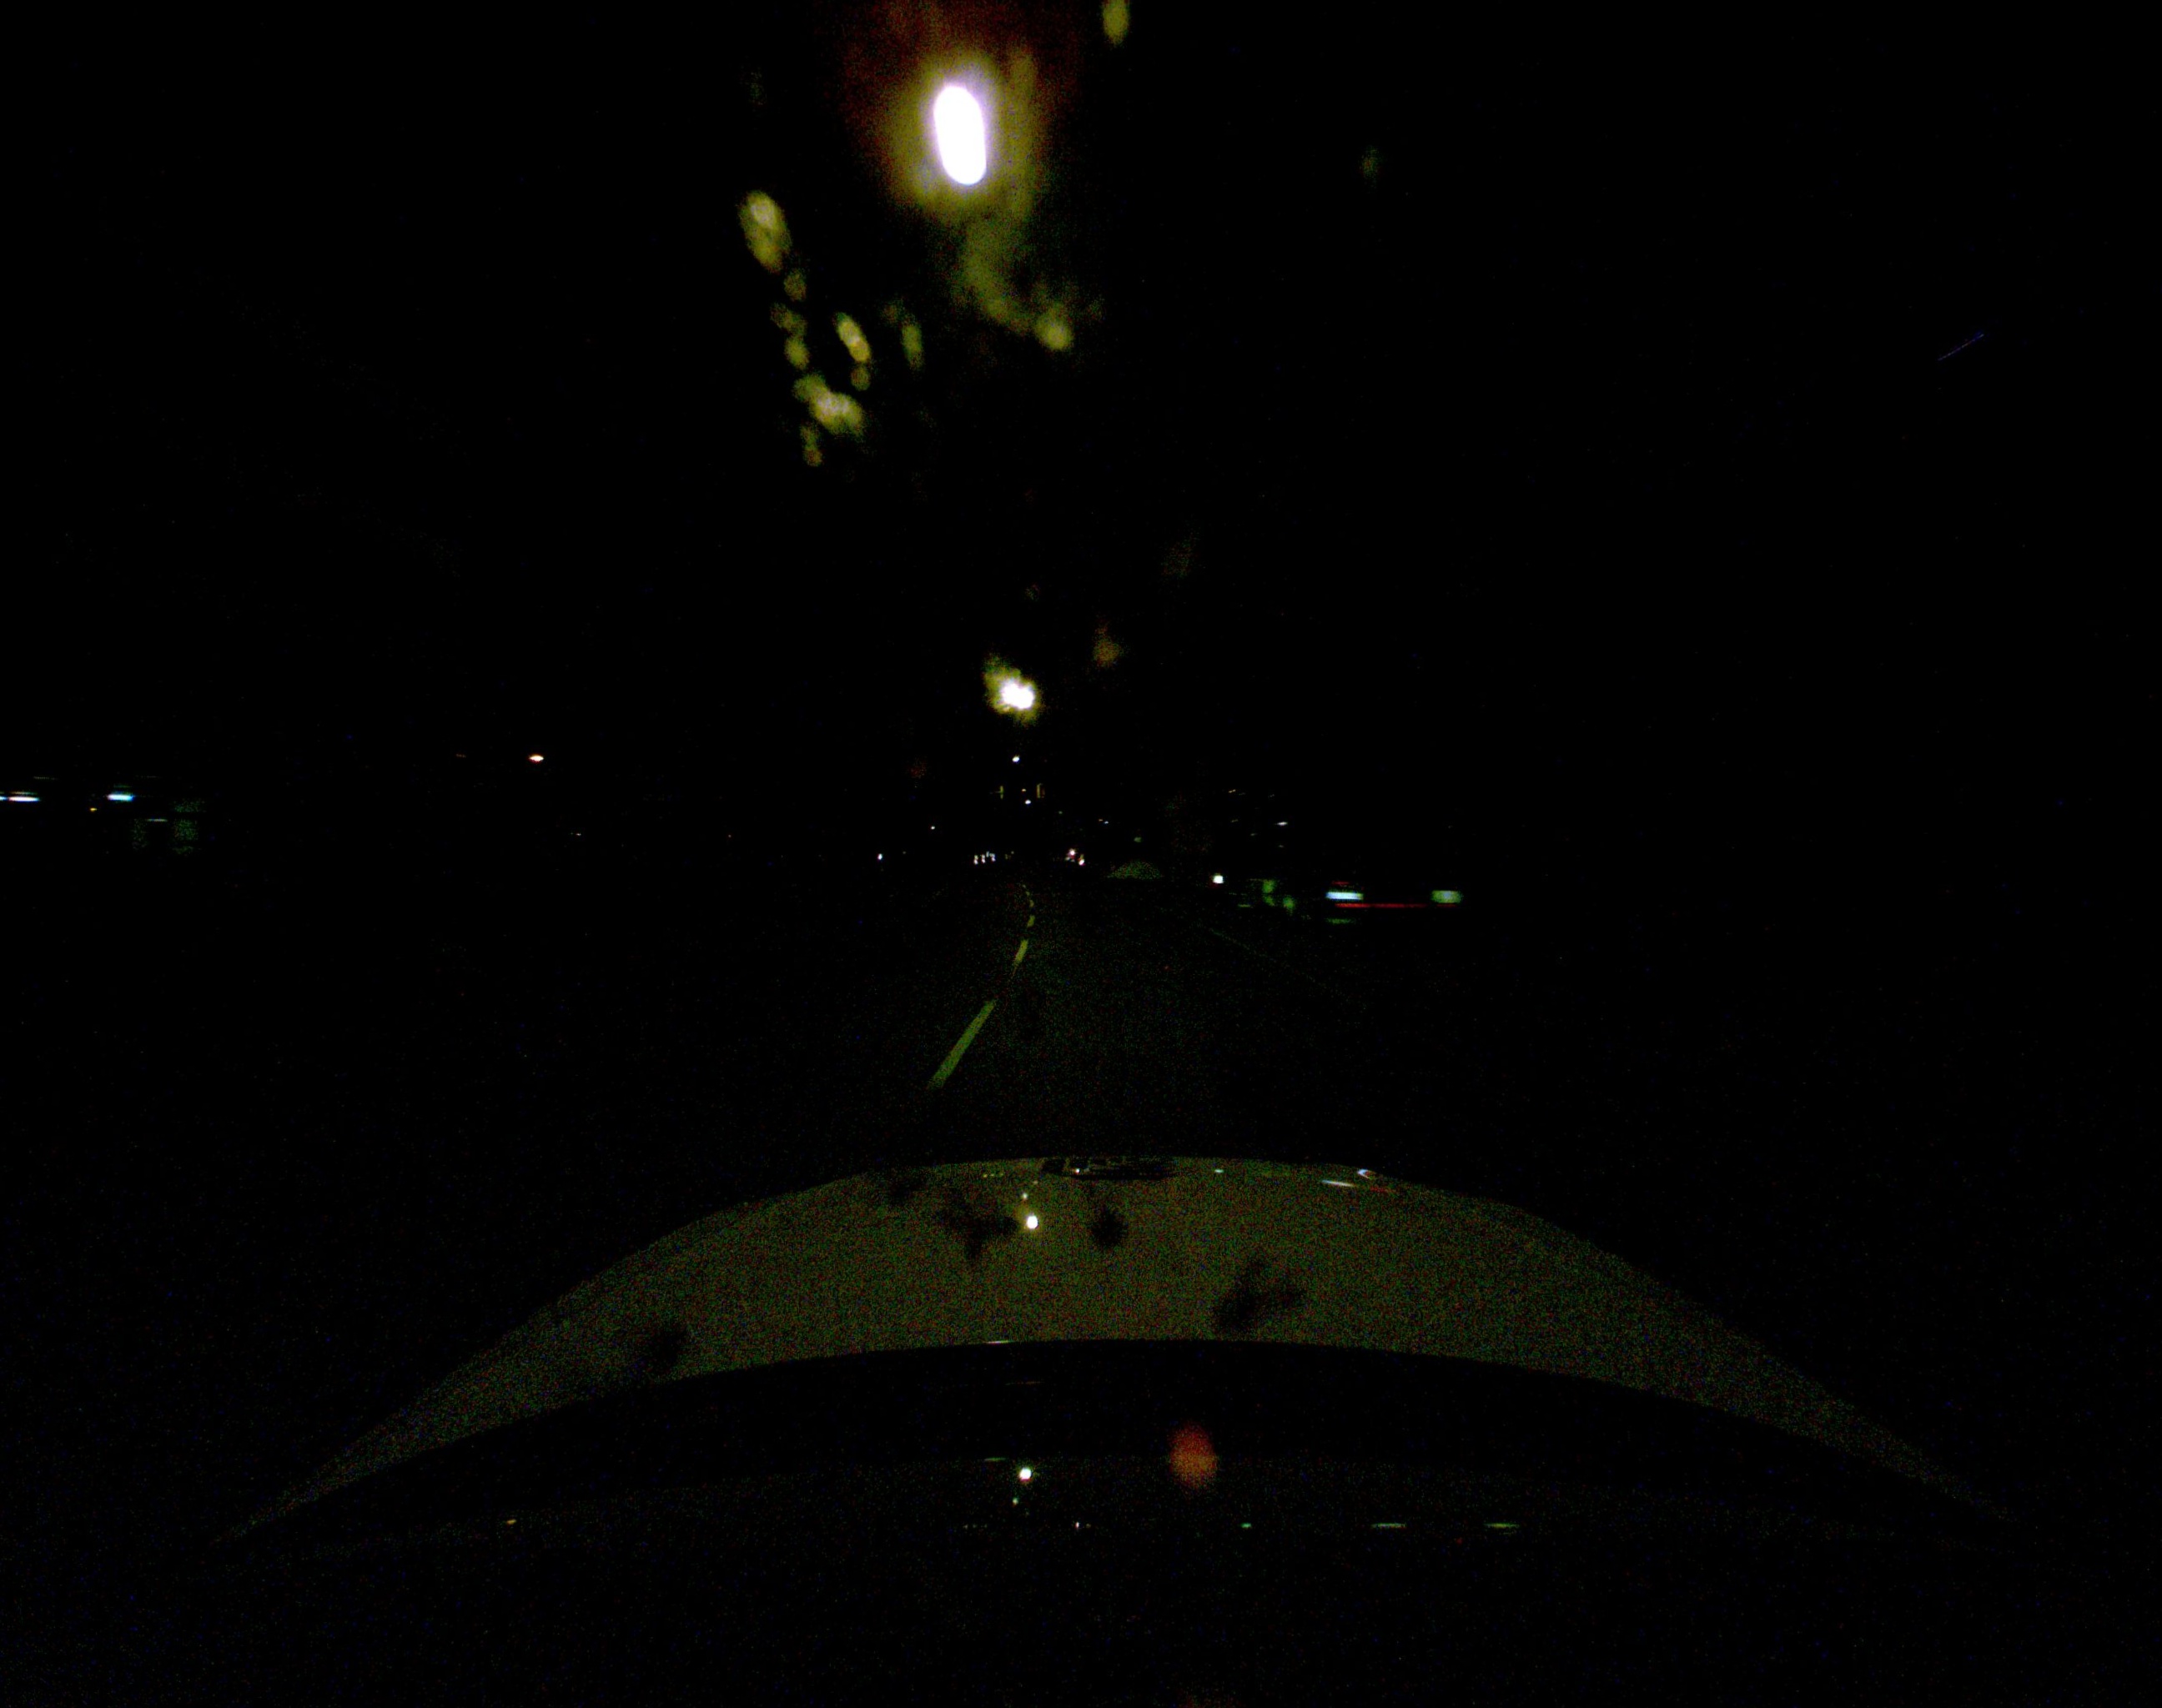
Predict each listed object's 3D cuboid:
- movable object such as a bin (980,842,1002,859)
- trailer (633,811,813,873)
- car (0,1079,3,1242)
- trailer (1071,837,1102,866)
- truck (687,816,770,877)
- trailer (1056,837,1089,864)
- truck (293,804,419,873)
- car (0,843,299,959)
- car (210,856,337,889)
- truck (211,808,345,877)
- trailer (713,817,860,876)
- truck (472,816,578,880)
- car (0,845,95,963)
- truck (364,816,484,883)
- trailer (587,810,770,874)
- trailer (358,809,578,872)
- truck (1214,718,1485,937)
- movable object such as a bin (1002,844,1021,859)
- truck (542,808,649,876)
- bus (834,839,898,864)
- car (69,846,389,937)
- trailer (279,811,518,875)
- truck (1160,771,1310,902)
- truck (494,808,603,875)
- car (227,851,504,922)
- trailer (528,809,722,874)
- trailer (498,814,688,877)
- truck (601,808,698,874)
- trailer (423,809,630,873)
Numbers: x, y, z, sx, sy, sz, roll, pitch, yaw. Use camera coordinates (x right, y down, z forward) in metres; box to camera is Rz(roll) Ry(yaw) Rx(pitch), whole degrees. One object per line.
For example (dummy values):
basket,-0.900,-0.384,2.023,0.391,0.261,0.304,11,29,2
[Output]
movable object such as a bin,-13.267,-0.490,120.844,1.982,2.376,4.714,-2,1,9
trailer,-26.389,-0.830,61.718,3.033,4.148,15.075,0,0,19
car,-5.636,1.036,1.369,1.808,1.371,4.360,-1,0,0
trailer,0.552,-0.231,84.109,2.611,2.845,4.698,0,-1,-7
truck,-23.544,-0.499,54.608,3.038,3.932,4.518,0,0,12
trailer,-1.069,-0.385,98.839,3.478,3.219,4.853,0,-1,-7
truck,-48.858,-1.018,55.081,3.036,4.357,5.588,0,0,14
car,-15.666,0.705,12.983,4.391,1.681,1.961,-1,0,-1
car,-38.645,0.873,39.068,3.981,1.552,1.887,0,0,-6
truck,-53.618,-0.725,54.555,3.036,4.357,5.588,0,0,14
trailer,-21.880,-0.560,62.325,3.038,3.932,15.053,0,0,12
truck,-39.613,-0.427,58.197,3.036,4.357,5.588,0,0,14
car,-15.736,0.661,10.242,4.389,1.478,1.851,-1,0,0
truck,-44.617,-0.304,55.521,3.036,4.357,5.588,0,0,14
trailer,-30.291,-0.835,62.837,3.034,4.357,15.071,0,0,17
trailer,-46.748,-0.968,63.346,3.036,4.357,15.061,0,0,14
truck,5.467,-0.481,18.826,2.749,3.783,9.126,-1,0,-3
movable object such as a bin,-11.381,-0.486,133.568,1.982,2.376,4.714,-2,0,9
truck,-32.721,-0.768,55.124,3.034,4.357,5.591,0,0,17
bus,-30.599,-0.448,116.935,2.991,3.204,12.722,-1,1,14
car,-16.088,0.664,15.548,4.118,1.579,1.841,-1,0,0
trailer,-51.525,-0.787,62.697,3.036,4.357,15.061,0,0,14
truck,5.005,-0.533,28.941,2.750,3.783,10.212,-1,0,-4
truck,-36.491,-0.855,56.012,3.034,4.357,5.591,0,0,17
car,-15.818,0.689,18.176,4.429,1.452,2.063,-1,0,3
trailer,-34.354,-0.897,62.835,3.034,4.357,15.070,0,0,17
trailer,-37.924,-0.645,64.612,3.036,4.357,15.062,0,0,15
truck,-28.825,-0.845,54.637,3.033,4.148,4.960,0,0,19
trailer,-42.497,-0.944,63.672,3.036,4.357,15.061,0,0,14
